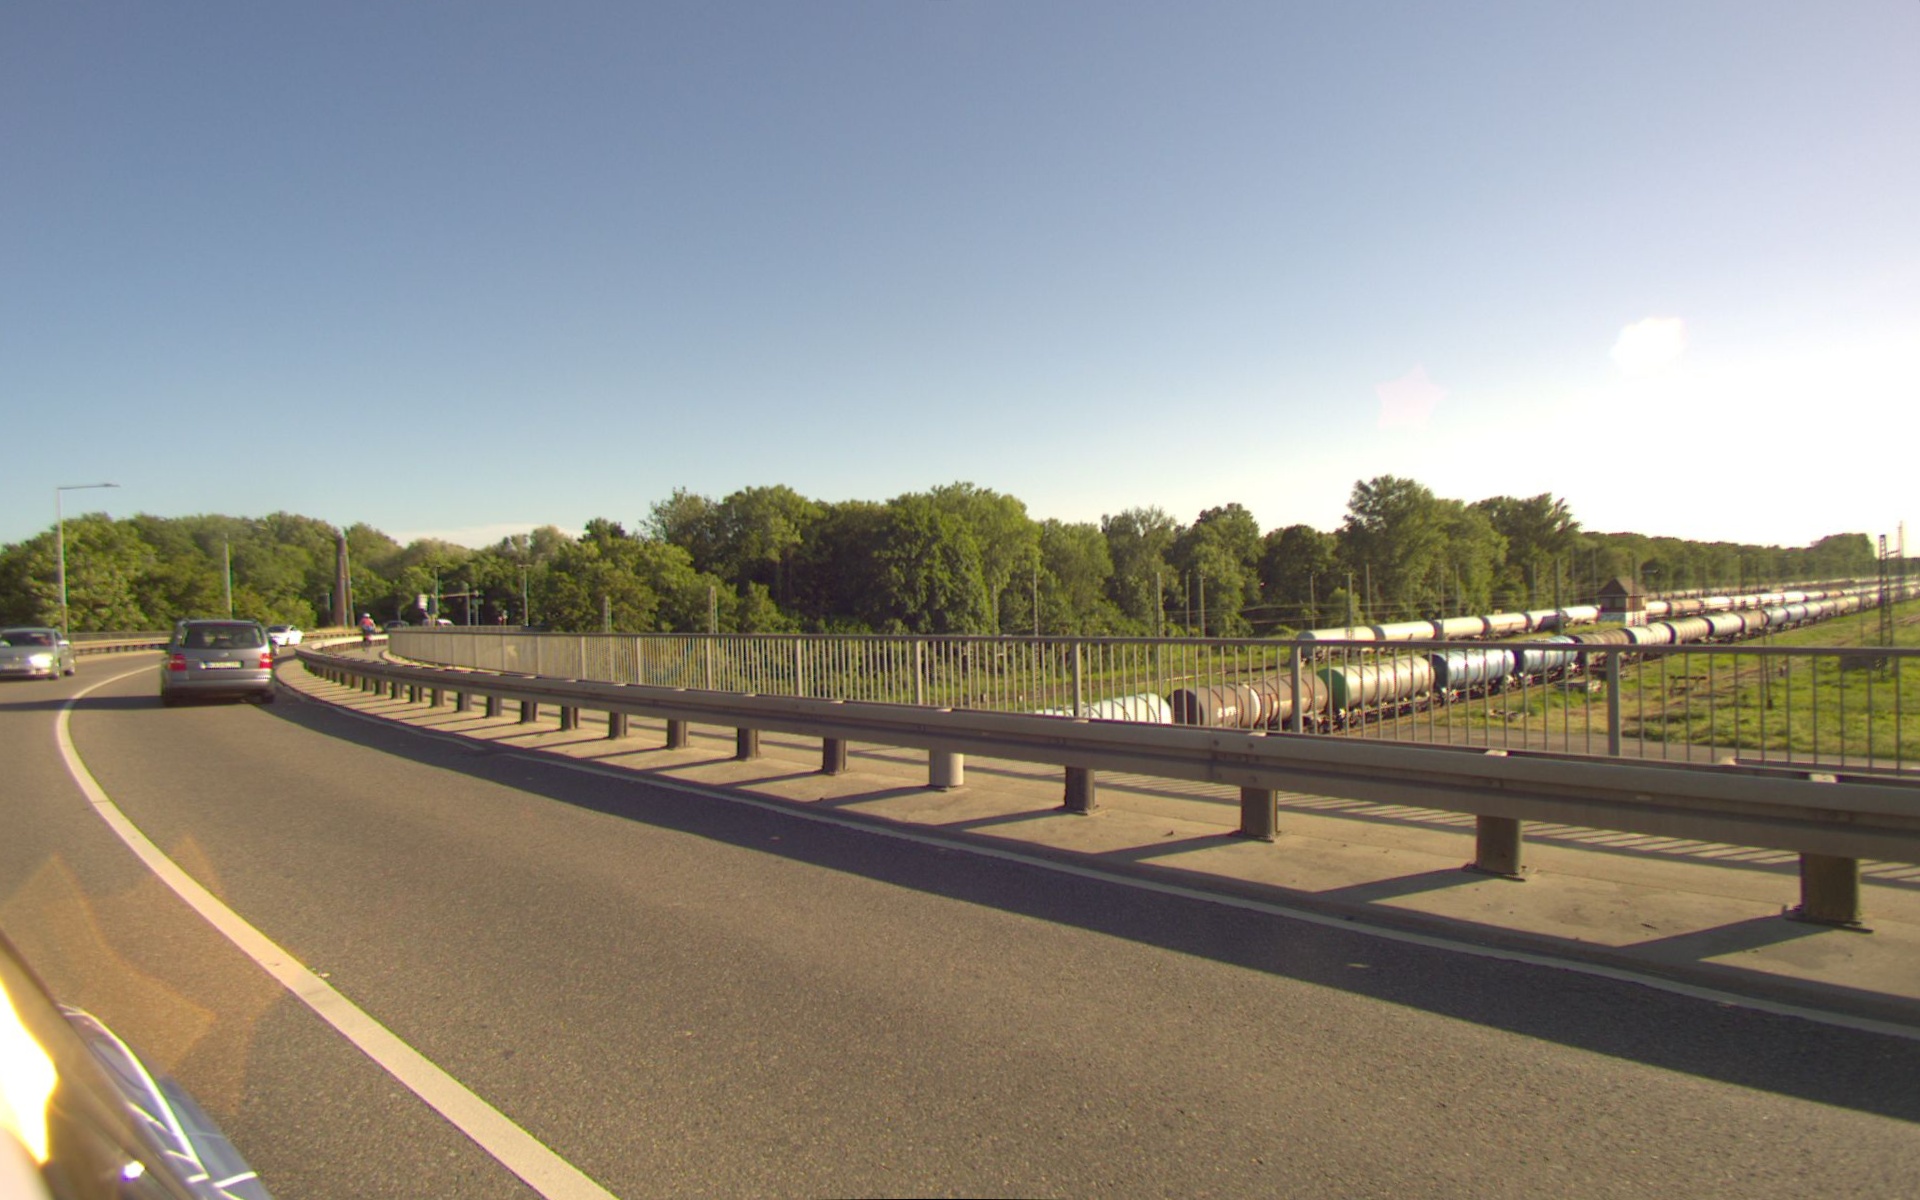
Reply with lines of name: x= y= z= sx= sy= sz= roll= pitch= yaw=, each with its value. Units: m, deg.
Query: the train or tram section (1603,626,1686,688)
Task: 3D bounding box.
train or tram section: x=79.493 y=6.357 z=117.286 sx=16.250 sy=6.661 sz=3.911 roll=1 pitch=-2 yaw=-42

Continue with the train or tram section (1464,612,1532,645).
train or tram section: x=86.853 y=4.560 z=163.157 sx=17.595 sy=5.125 sz=4.053 roll=1 pitch=-2 yaw=-43

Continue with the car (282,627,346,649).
car: x=-44.578 y=2.614 z=69.936 sx=1.965 sy=1.485 sz=4.132 roll=0 pitch=-1 yaw=-3

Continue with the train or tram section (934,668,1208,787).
train or tram section: x=6.248 y=6.163 z=52.097 sx=16.509 sy=4.626 sz=3.911 roll=1 pitch=-2 yaw=-42

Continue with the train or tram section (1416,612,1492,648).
train or tram section: x=73.955 y=4.369 z=151.171 sx=17.595 sy=5.125 sz=4.053 roll=1 pitch=-2 yaw=-43

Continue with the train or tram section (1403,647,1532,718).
train or tram section: x=42.673 y=6.626 z=84.568 sx=16.113 sy=5.055 sz=3.911 roll=1 pitch=-2 yaw=-42

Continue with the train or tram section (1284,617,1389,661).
train or tram section: x=47.320 y=4.765 z=126.520 sx=19.058 sy=5.125 sz=4.053 roll=1 pitch=-2 yaw=-43

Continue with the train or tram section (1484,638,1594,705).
train or tram section: x=54.753 y=6.544 z=95.342 sx=16.250 sy=5.561 sz=3.911 roll=1 pitch=-2 yaw=-42

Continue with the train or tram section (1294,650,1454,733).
train or tram section: x=30.512 y=6.387 z=73.770 sx=16.409 sy=5.055 sz=3.911 roll=1 pitch=-2 yaw=-42

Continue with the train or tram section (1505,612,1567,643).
train or tram section: x=99.774 y=4.757 z=175.099 sx=17.595 sy=5.125 sz=4.053 roll=1 pitch=-2 yaw=-43

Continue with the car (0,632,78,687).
car: x=-26.816 y=1.660 z=29.038 sx=1.736 sy=1.447 sz=4.341 roll=1 pitch=-2 yaw=-34

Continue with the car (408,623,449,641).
car: x=-78.798 y=4.767 z=149.982 sx=5.664 sy=2.518 sz=2.100 roll=-3 pitch=-2 yaw=21

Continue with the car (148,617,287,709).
car: x=-14.798 y=1.172 z=20.086 sx=1.826 sy=1.636 sz=4.107 roll=1 pitch=-2 yaw=-42

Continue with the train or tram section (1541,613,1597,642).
train or tram section: x=112.735 y=5.004 z=187.103 sx=17.595 sy=5.125 sz=4.053 roll=1 pitch=-2 yaw=-43

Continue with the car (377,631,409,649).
car: x=-53.440 y=3.715 z=95.453 sx=1.890 sy=1.630 sz=3.753 roll=0 pitch=-1 yaw=-17

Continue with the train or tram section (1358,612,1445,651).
train or tram section: x=60.898 y=4.255 z=139.118 sx=17.910 sy=5.125 sz=4.053 roll=1 pitch=-2 yaw=-43

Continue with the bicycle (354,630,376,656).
bicycle: x=-25.974 y=1.872 z=44.189 sx=0.644 sy=1.073 sz=1.896 roll=0 pitch=-2 yaw=-25

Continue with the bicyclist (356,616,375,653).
bicyclist: x=-25.995 y=1.492 z=44.238 sx=0.644 sy=1.601 sz=0.770 roll=0 pitch=-2 yaw=-25

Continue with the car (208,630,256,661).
car: x=-34.005 y=2.077 z=47.351 sx=1.721 sy=1.365 sz=4.193 roll=1 pitch=-2 yaw=-34

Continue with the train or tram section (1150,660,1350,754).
train or tram section: x=18.404 y=6.359 z=62.929 sx=16.060 sy=4.626 sz=3.911 roll=1 pitch=-2 yaw=-42
